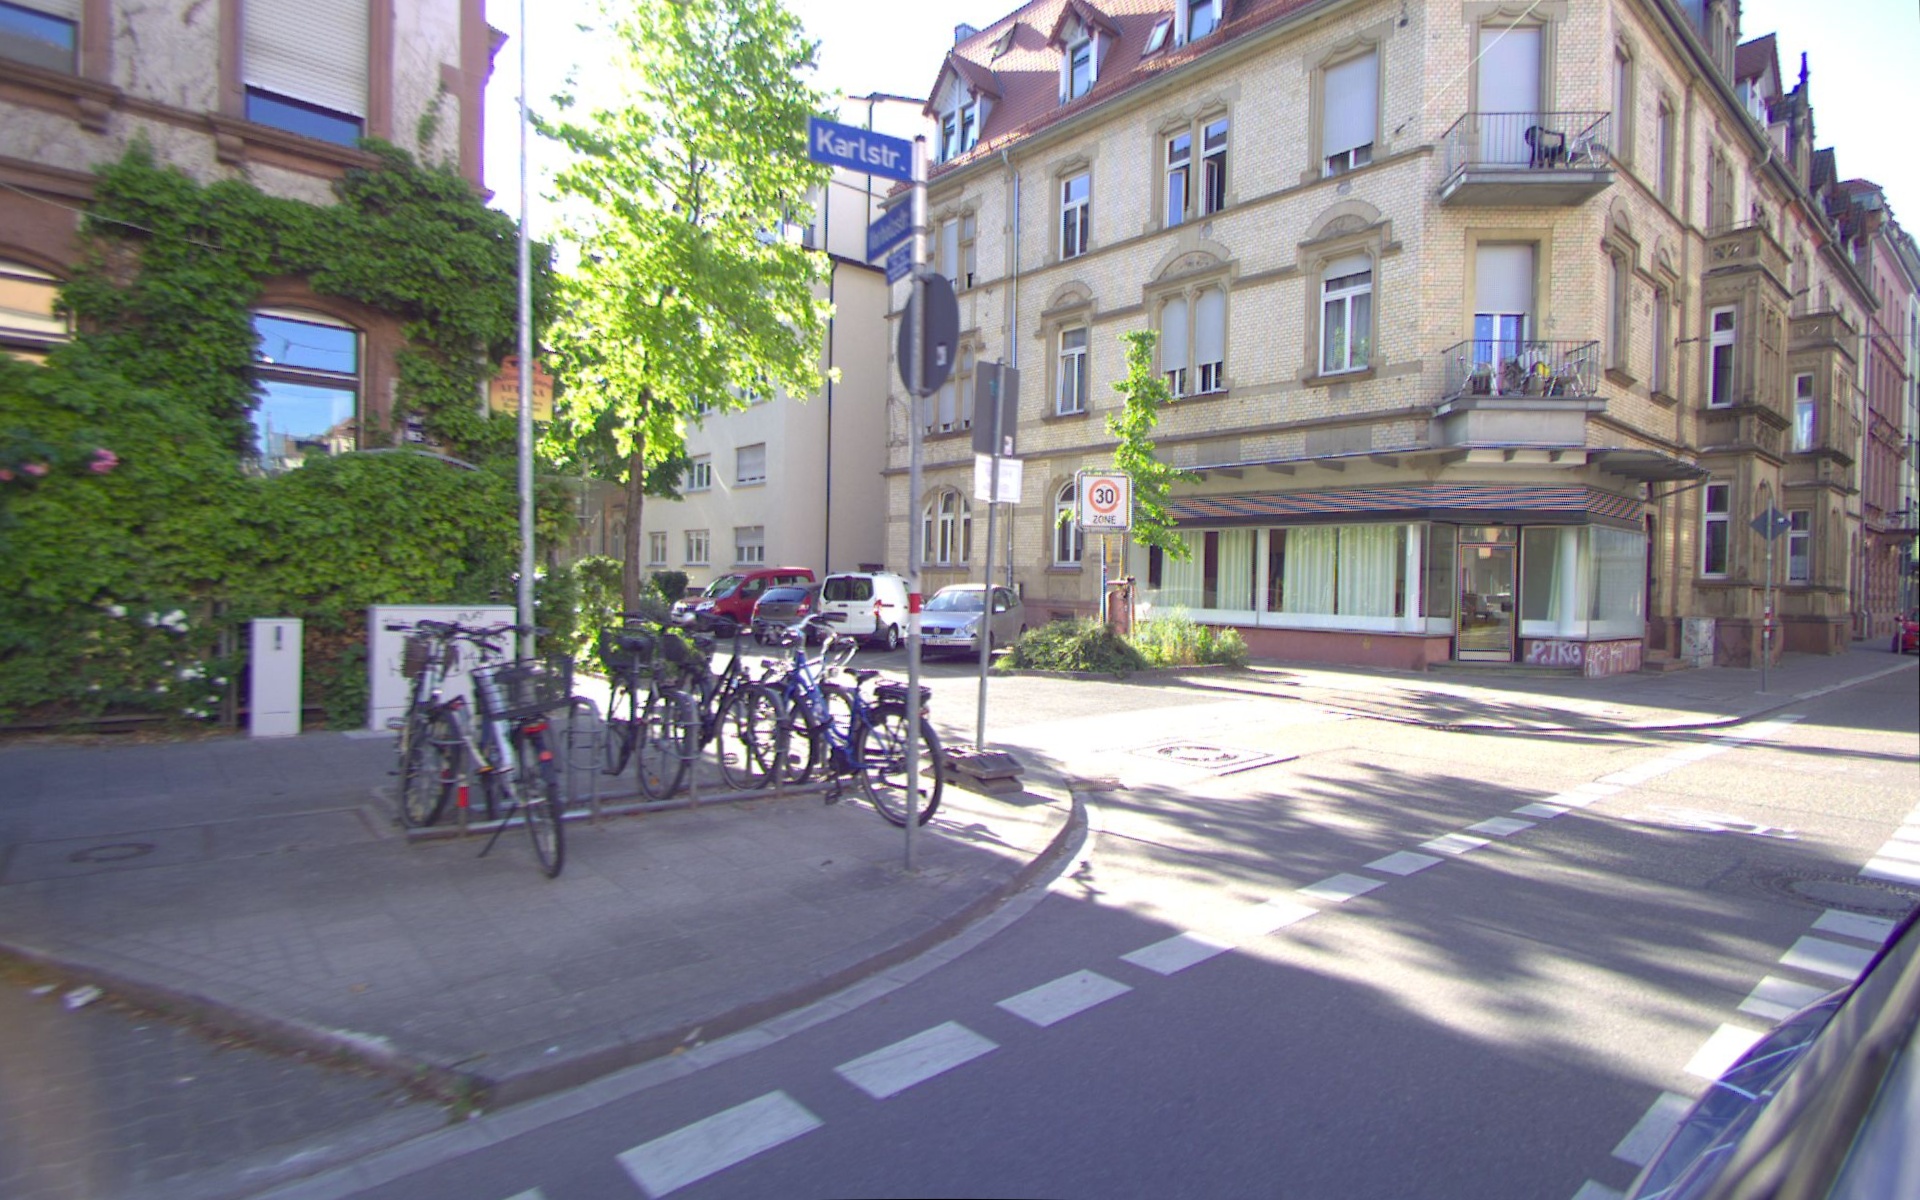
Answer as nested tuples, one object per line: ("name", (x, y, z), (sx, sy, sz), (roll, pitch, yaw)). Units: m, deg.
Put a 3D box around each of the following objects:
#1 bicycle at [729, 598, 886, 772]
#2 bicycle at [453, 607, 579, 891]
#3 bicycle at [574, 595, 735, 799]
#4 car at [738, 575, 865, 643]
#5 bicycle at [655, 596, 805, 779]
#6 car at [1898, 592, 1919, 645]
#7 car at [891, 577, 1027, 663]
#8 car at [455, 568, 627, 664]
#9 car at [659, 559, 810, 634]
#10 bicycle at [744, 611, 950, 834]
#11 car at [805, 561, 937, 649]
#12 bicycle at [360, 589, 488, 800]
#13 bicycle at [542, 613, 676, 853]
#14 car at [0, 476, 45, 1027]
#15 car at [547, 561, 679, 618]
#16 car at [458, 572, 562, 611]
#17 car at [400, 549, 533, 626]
("bicycle", (-1.173, 0.563, 7.523), (0.541, 1.141, 1.561), (0, 1, -34))
("bicycle", (-2.191, 0.623, 4.915), (0.289, 1.141, 1.565), (0, 1, -34))
("bicycle", (-2.035, 0.545, 6.598), (0.541, 1.141, 1.680), (0, 1, -34))
("car", (-3.880, 0.179, 25.329), (1.749, 1.551, 3.511), (0, 1, 18))
("bicycle", (-1.670, 0.551, 7.186), (0.518, 1.141, 1.561), (0, 1, -34))
("car", (30.104, 0.592, 30.746), (4.325, 1.500, 1.870), (-1, 4, -41))
("car", (0.073, 0.337, 20.330), (1.749, 1.551, 3.511), (0, 1, 18))
("car", (-7.374, 0.221, 17.608), (1.682, 1.471, 3.995), (0, 1, -39))
("car", (-6.162, -0.117, 27.973), (1.763, 1.920, 3.903), (0, 1, 37))
("bicycle", (-0.712, 0.652, 6.042), (0.542, 1.141, 1.400), (0, 1, -40))
("car", (-1.962, 0.082, 23.411), (1.749, 1.853, 3.718), (0, 1, 18))
("bicycle", (-3.361, 0.502, 6.285), (0.541, 1.141, 1.561), (0, 1, -34))
("bicycle", (-1.942, 0.636, 5.498), (0.301, 1.092, 1.561), (0, 1, -34))
("car", (-5.096, 0.442, 3.161), (4.320, 1.616, 1.837), (0, 1, 25))
("car", (-11.611, -0.359, 34.041), (1.763, 1.817, 3.903), (0, 1, 37))
("car", (-19.992, -0.400, 45.119), (1.762, 1.652, 3.904), (0, 1, 37))
("car", (-10.546, -0.266, 21.489), (1.682, 1.471, 3.995), (0, 1, -39))
